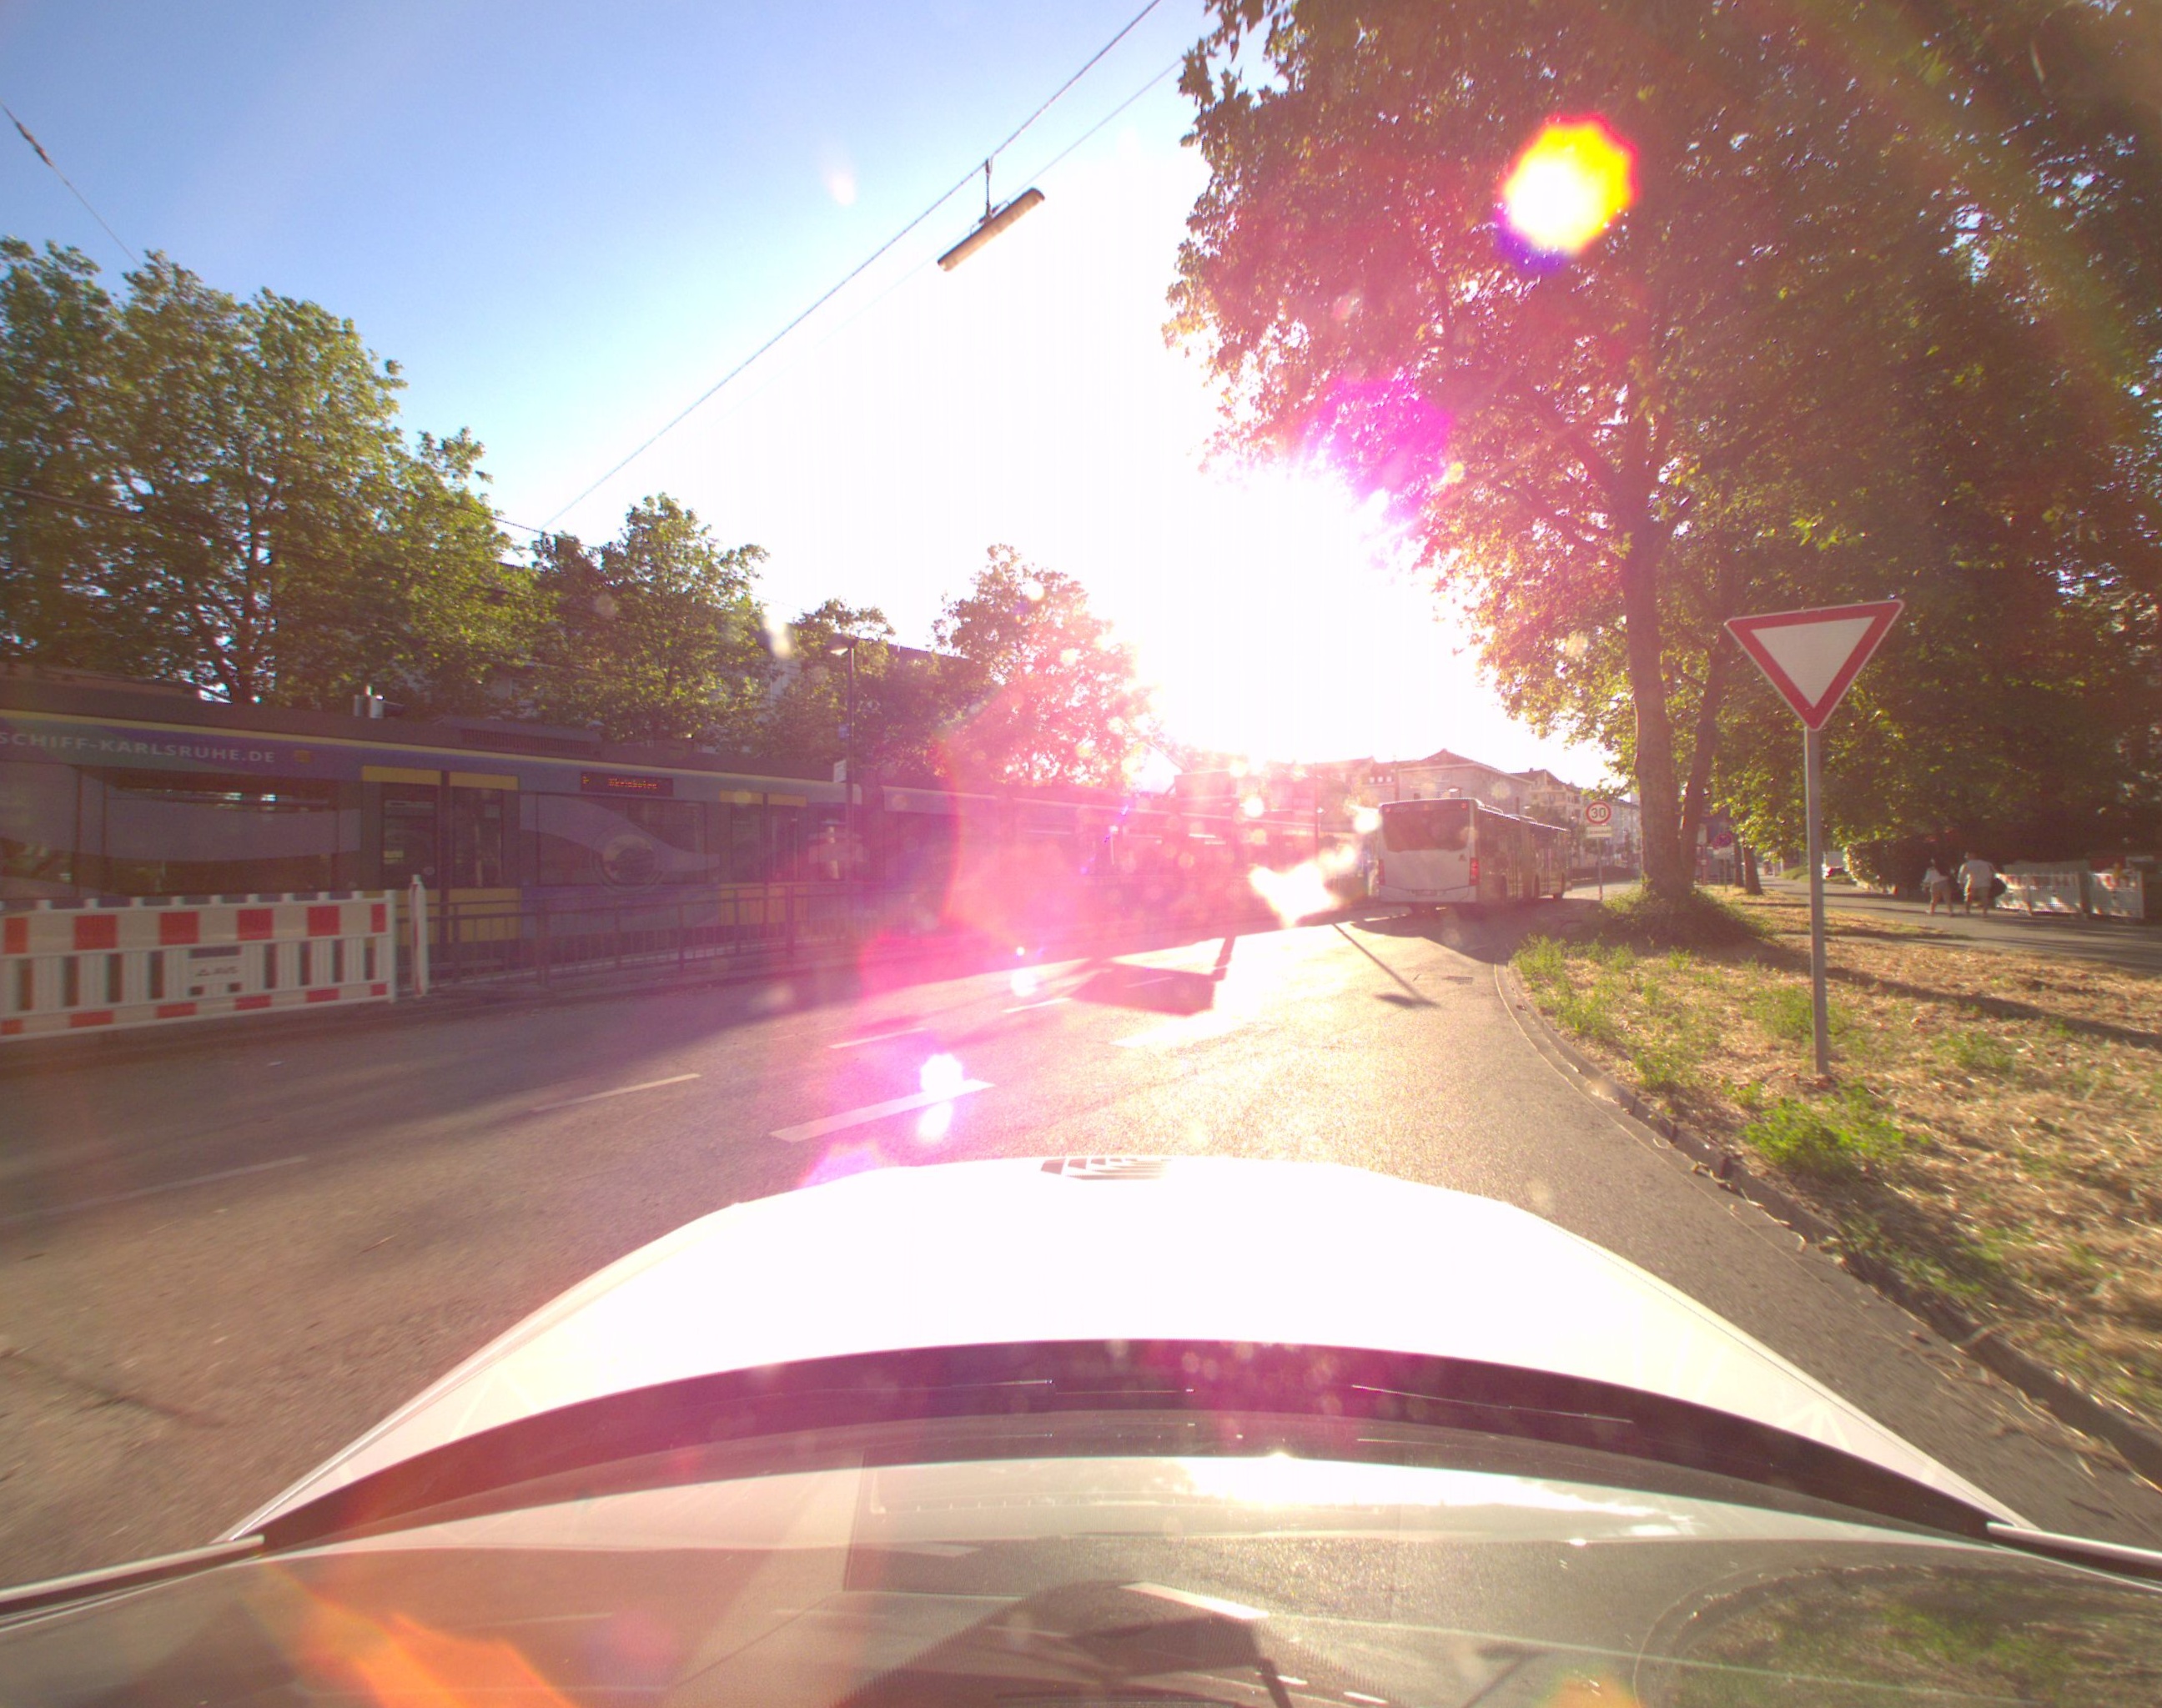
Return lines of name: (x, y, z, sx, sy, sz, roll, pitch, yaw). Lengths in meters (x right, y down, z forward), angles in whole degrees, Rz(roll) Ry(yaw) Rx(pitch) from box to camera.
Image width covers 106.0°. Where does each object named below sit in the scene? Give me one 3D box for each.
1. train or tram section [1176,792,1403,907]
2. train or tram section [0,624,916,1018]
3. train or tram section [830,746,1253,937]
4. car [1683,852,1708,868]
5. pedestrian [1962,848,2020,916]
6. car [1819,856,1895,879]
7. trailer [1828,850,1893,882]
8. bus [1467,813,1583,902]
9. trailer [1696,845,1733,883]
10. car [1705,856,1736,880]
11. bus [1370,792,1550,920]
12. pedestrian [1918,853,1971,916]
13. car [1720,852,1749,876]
train or tram section: (8.479, -0.049, 30.826, 2.615, 3.519, 13.415, -2, -1, 41)
train or tram section: (-8.512, -0.249, 10.846, 2.822, 3.533, 13.478, -2, -1, 41)
train or tram section: (0.008, -0.160, 20.848, 2.702, 3.549, 12.863, -2, -1, 41)
car: (70.438, 0.711, 93.373, 1.974, 1.816, 4.024, -1, -1, 41)
pedestrian: (22.894, 0.686, 20.511, 0.782, 1.667, 0.821, -1, -1, 36)
car: (56.897, 1.041, 59.815, 3.883, 1.637, 1.717, -2, -2, 41)
trailer: (51.720, 0.780, 54.134, 3.035, 2.070, 1.890, -1, -1, 42)
bus: (18.075, 0.167, 32.777, 2.682, 3.107, 9.036, -1, -1, 38)
trailer: (44.235, 0.701, 56.815, 1.815, 2.558, 3.339, -2, -2, 41)
car: (52.699, 1.161, 67.079, 1.829, 1.957, 4.571, -2, -2, 41)
bus: (12.006, 0.086, 24.984, 2.707, 3.139, 10.770, -1, -1, 37)
pedestrian: (22.240, 0.777, 20.989, 0.782, 1.572, 0.821, -1, -1, 36)
car: (73.582, 1.187, 91.693, 2.260, 2.627, 5.342, -2, -2, 41)
